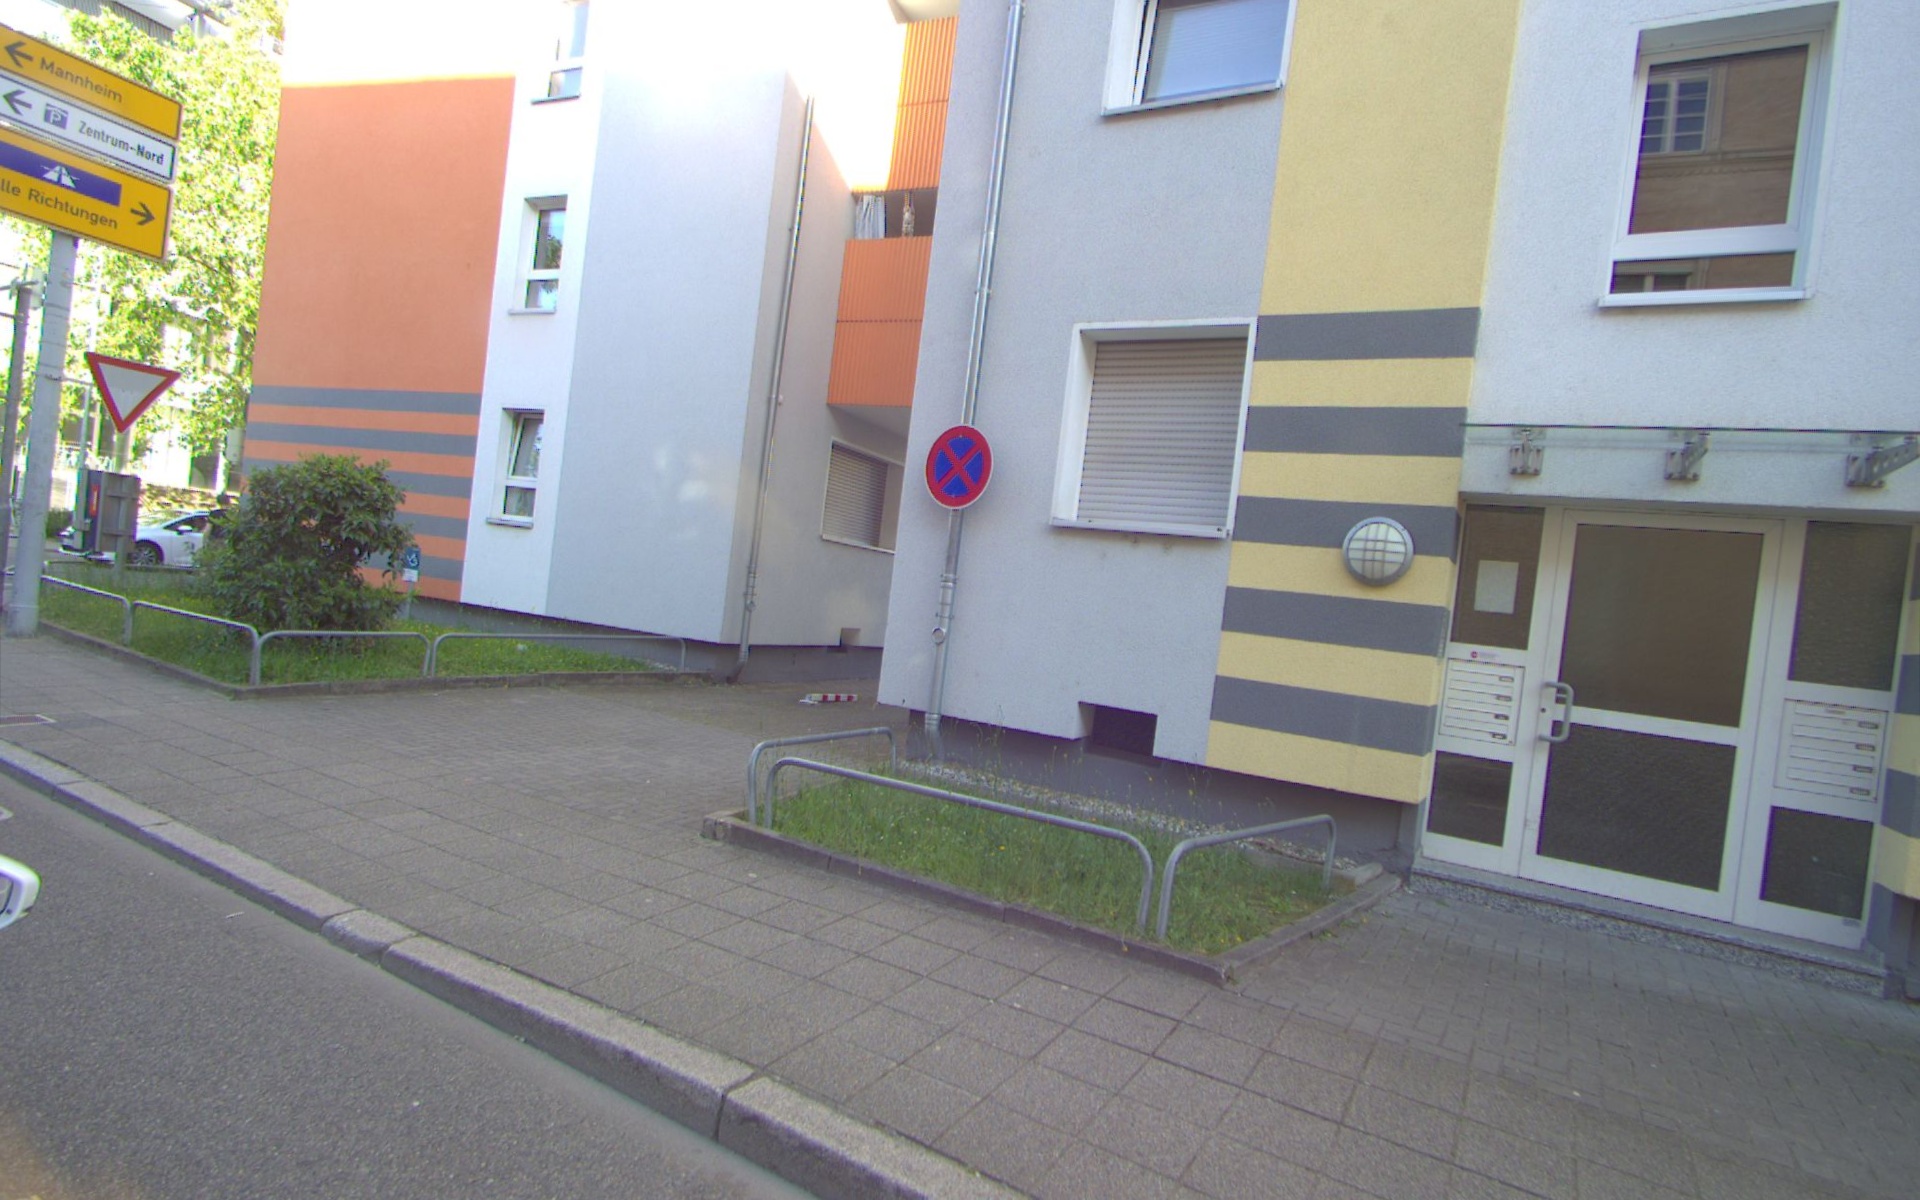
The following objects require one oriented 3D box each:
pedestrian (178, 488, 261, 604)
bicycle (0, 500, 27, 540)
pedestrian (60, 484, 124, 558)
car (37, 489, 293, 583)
[{"bbox_3d":[-12.553,-0.900,17.072,0.690,1.831,0.719,7,-1,-9],"label":"pedestrian"},{"bbox_3d":[-26.405,-2.234,27.394,1.409,1.021,0.379,7,1,-11],"label":"bicycle"},{"bbox_3d":[-23.748,-2.152,27.530,0.748,1.837,0.917,7,-1,24],"label":"pedestrian"},{"bbox_3d":[-17.535,-1.348,22.443,1.687,1.437,4.091,7,-1,21],"label":"car"}]
